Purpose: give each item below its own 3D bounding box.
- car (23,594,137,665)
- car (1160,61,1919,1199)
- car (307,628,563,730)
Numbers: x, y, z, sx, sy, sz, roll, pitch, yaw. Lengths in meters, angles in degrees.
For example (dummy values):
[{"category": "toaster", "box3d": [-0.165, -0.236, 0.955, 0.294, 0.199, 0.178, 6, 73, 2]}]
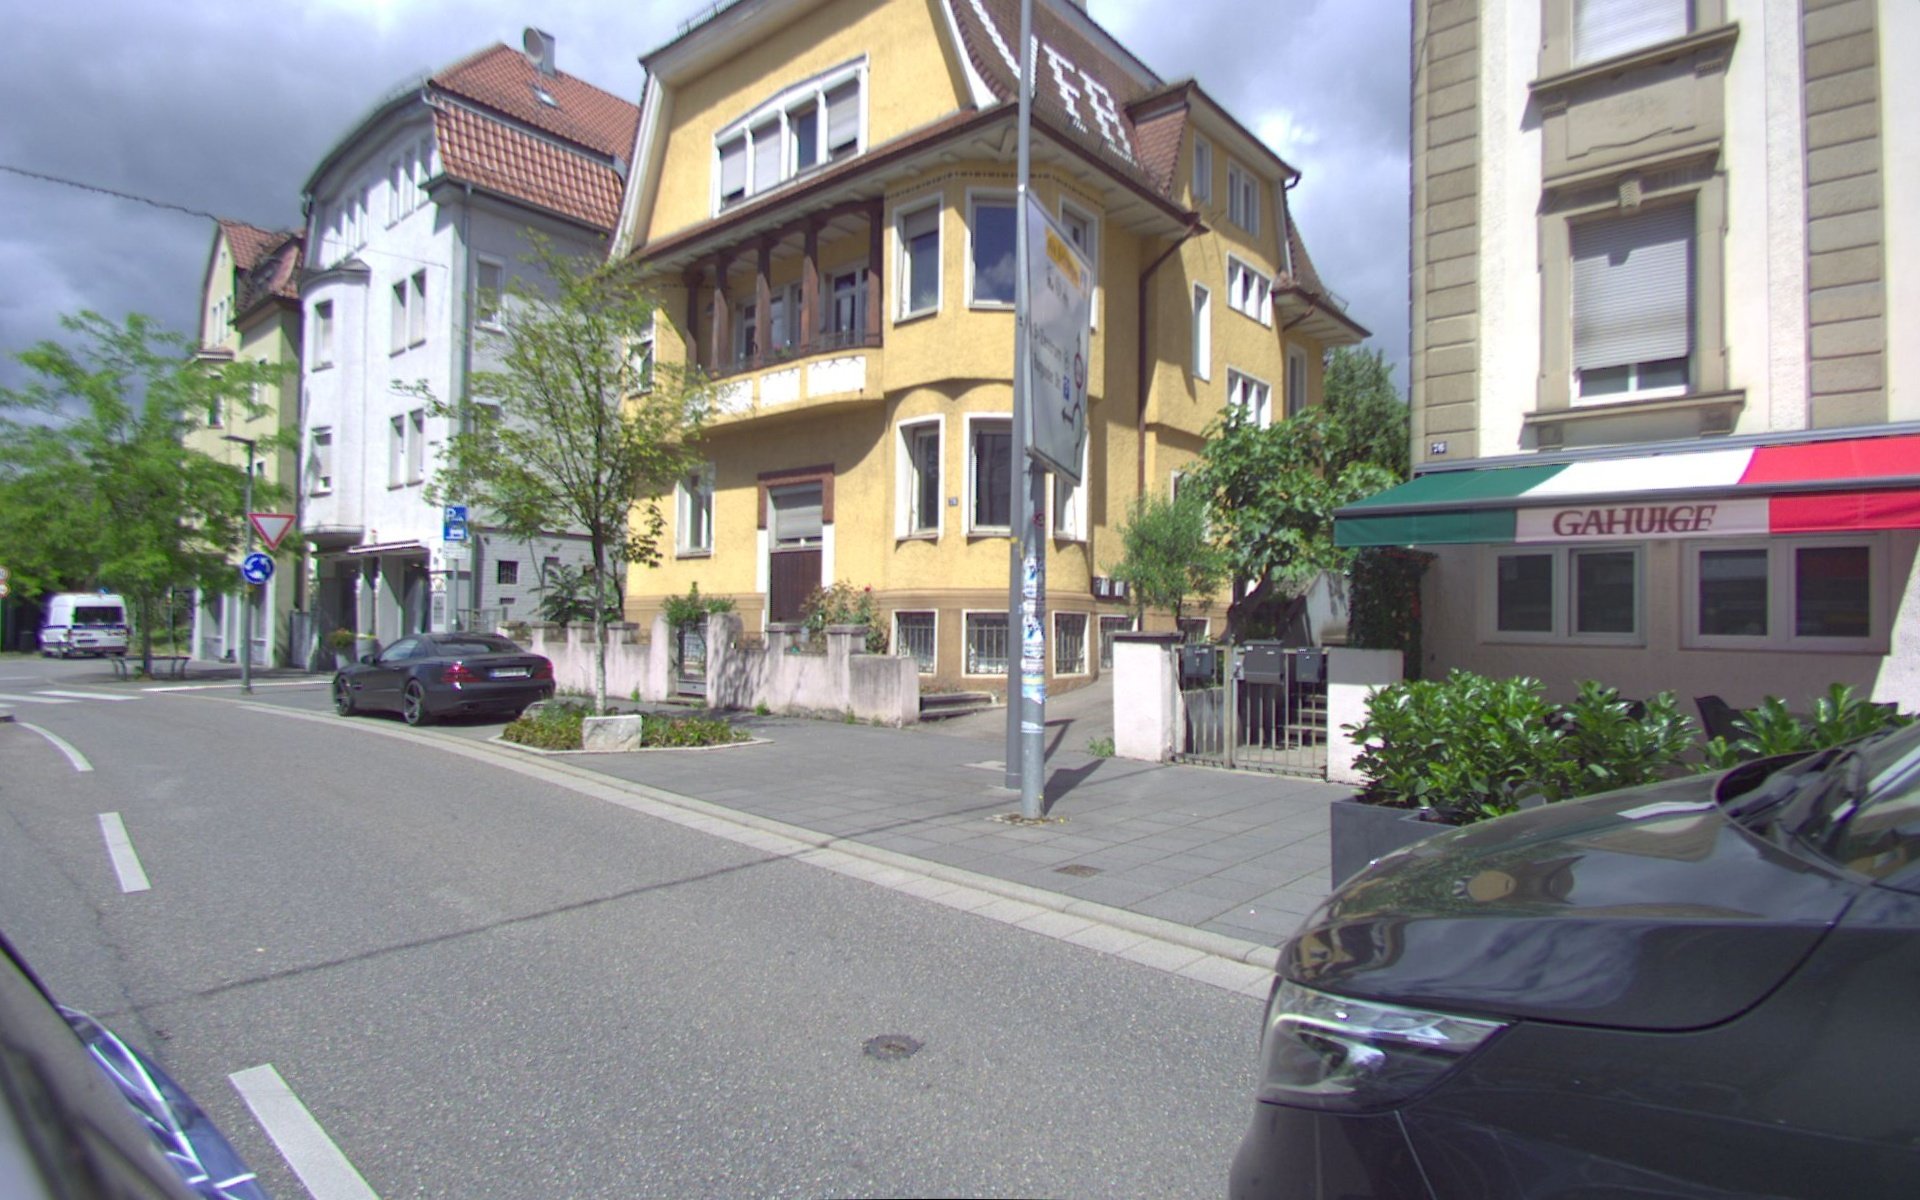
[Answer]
[{"category": "car", "box3d": [-36.050, 1.141, 41.382, 7.261, 2.692, 2.280, -1, 0, 39]}, {"category": "car", "box3d": [2.805, 0.432, 0.338, 5.177, 1.948, 1.851, -3, -3, 44]}, {"category": "car", "box3d": [-7.946, 1.112, 15.163, 4.459, 1.314, 1.701, -2, -3, 38]}]
